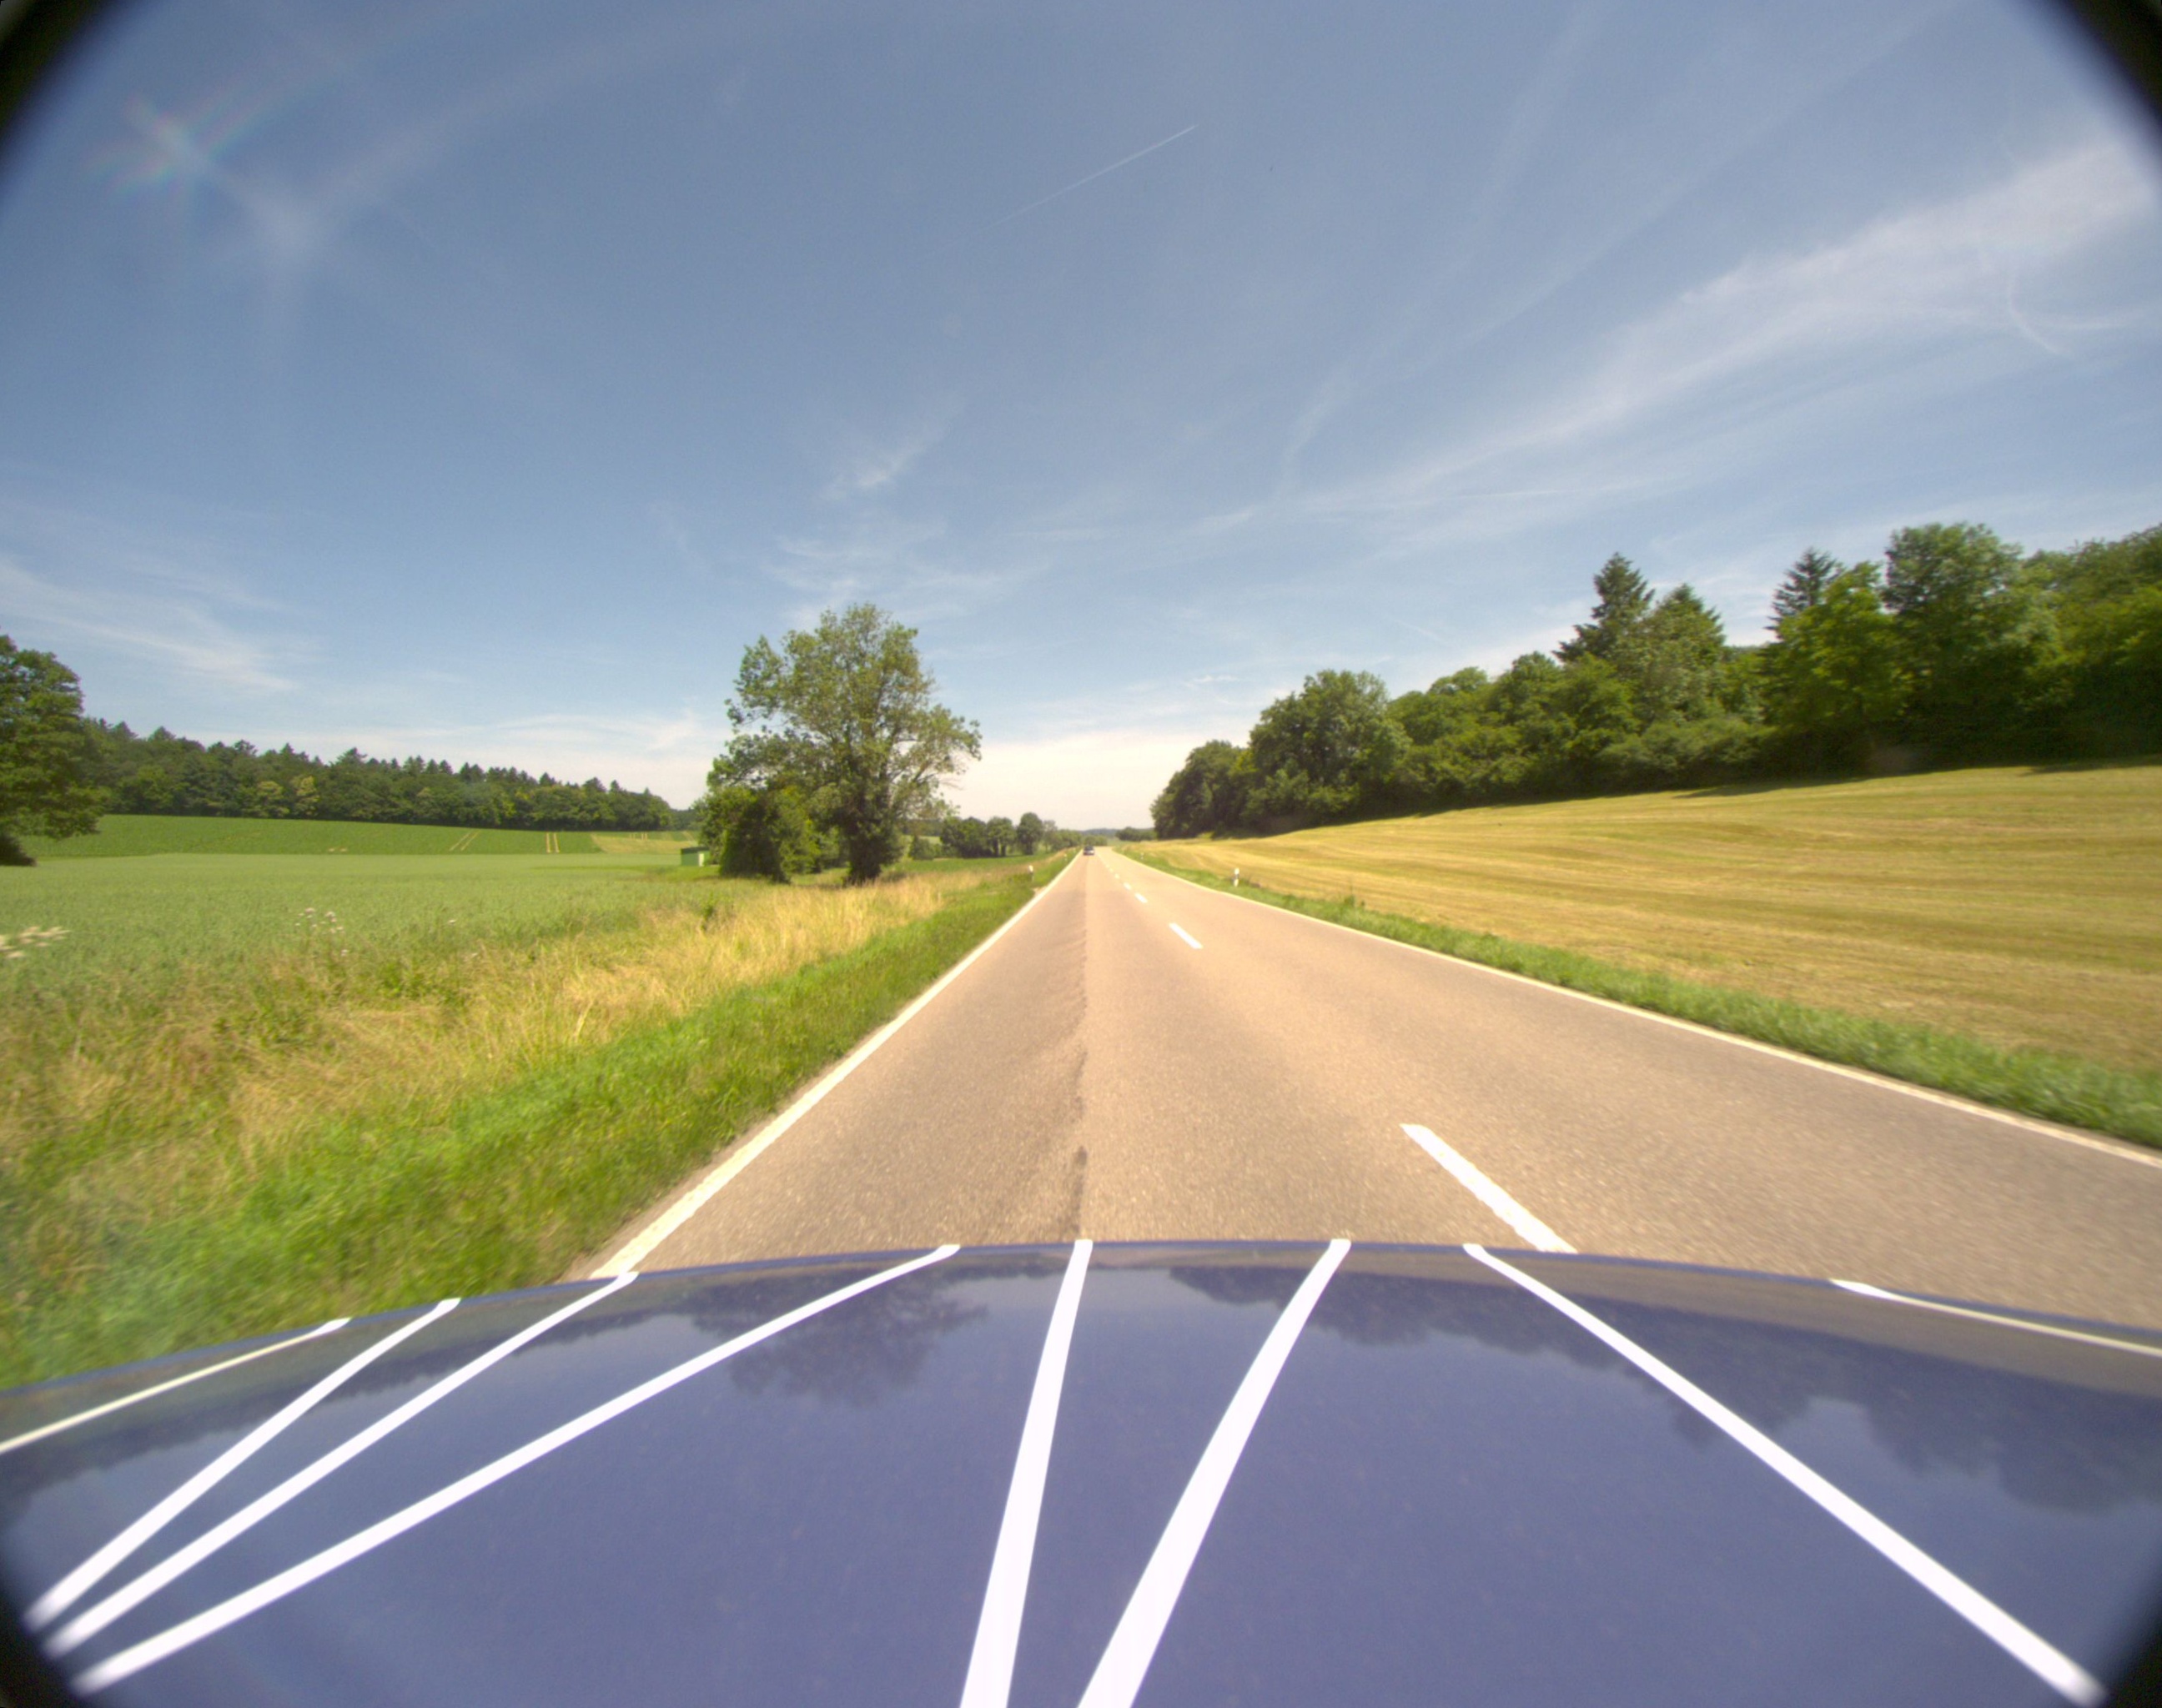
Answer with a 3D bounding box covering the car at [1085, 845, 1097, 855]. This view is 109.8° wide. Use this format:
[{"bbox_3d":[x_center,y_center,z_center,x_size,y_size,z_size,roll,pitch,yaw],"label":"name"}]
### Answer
[{"bbox_3d":[1.662,-0.635,124.497,1.815,1.569,4.155,-2,-2,1],"label":"car"}]
